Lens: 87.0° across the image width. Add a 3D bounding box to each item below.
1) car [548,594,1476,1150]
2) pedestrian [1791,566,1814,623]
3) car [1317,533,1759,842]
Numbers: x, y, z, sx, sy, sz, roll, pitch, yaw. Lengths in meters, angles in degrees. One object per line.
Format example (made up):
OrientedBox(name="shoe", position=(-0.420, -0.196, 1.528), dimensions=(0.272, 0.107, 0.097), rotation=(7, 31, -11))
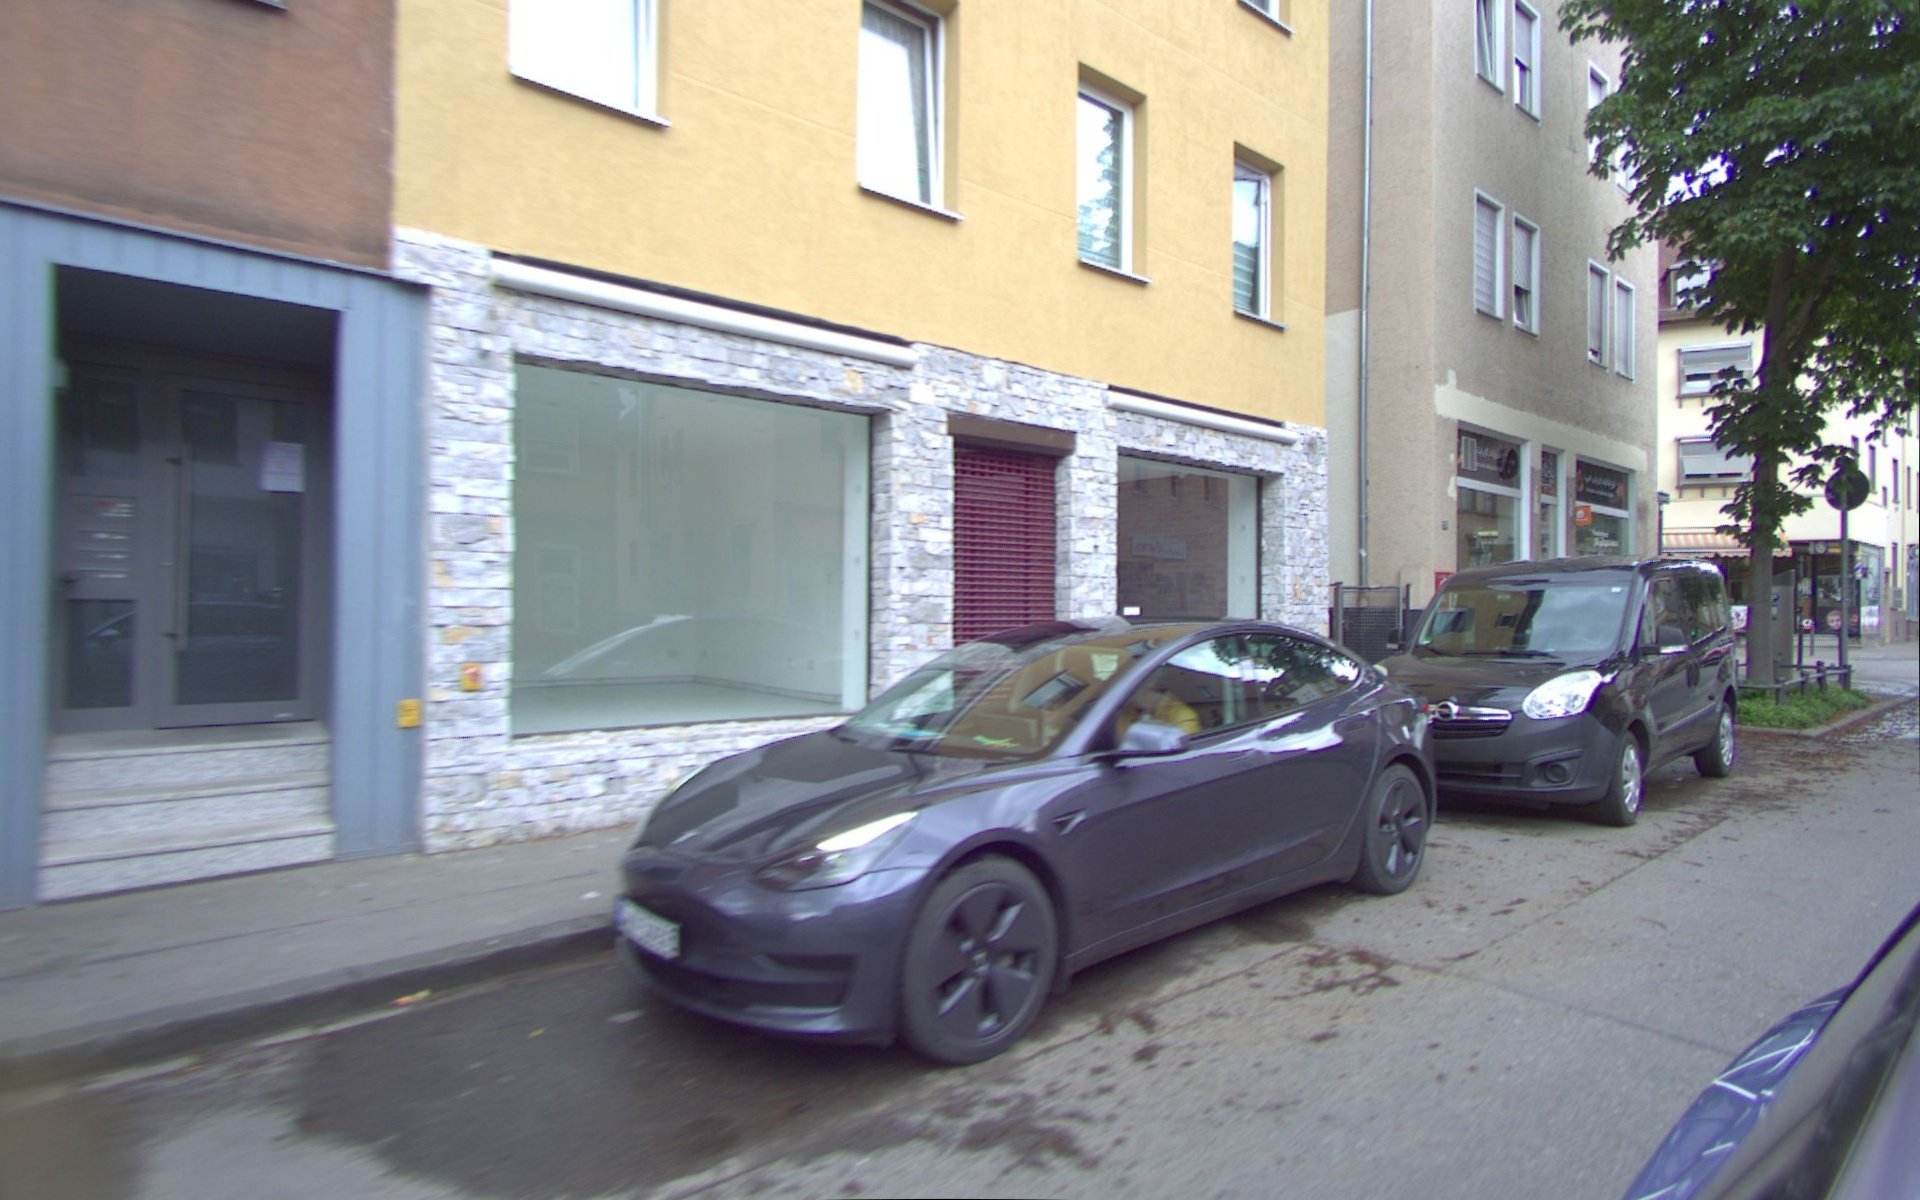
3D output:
OrientedBox(name="car", position=(0.590, 0.719, 4.822), dimensions=(4.431, 1.423, 1.754), rotation=(-1, 1, -40))
OrientedBox(name="pedestrian", position=(26.921, -0.177, 32.347), dimensions=(0.391, 1.797, 0.385), rotation=(-1, -1, 17))
OrientedBox(name="car", position=(4.767, 0.476, 8.049), dimensions=(4.328, 1.803, 1.821), rotation=(-1, 0, -42))
